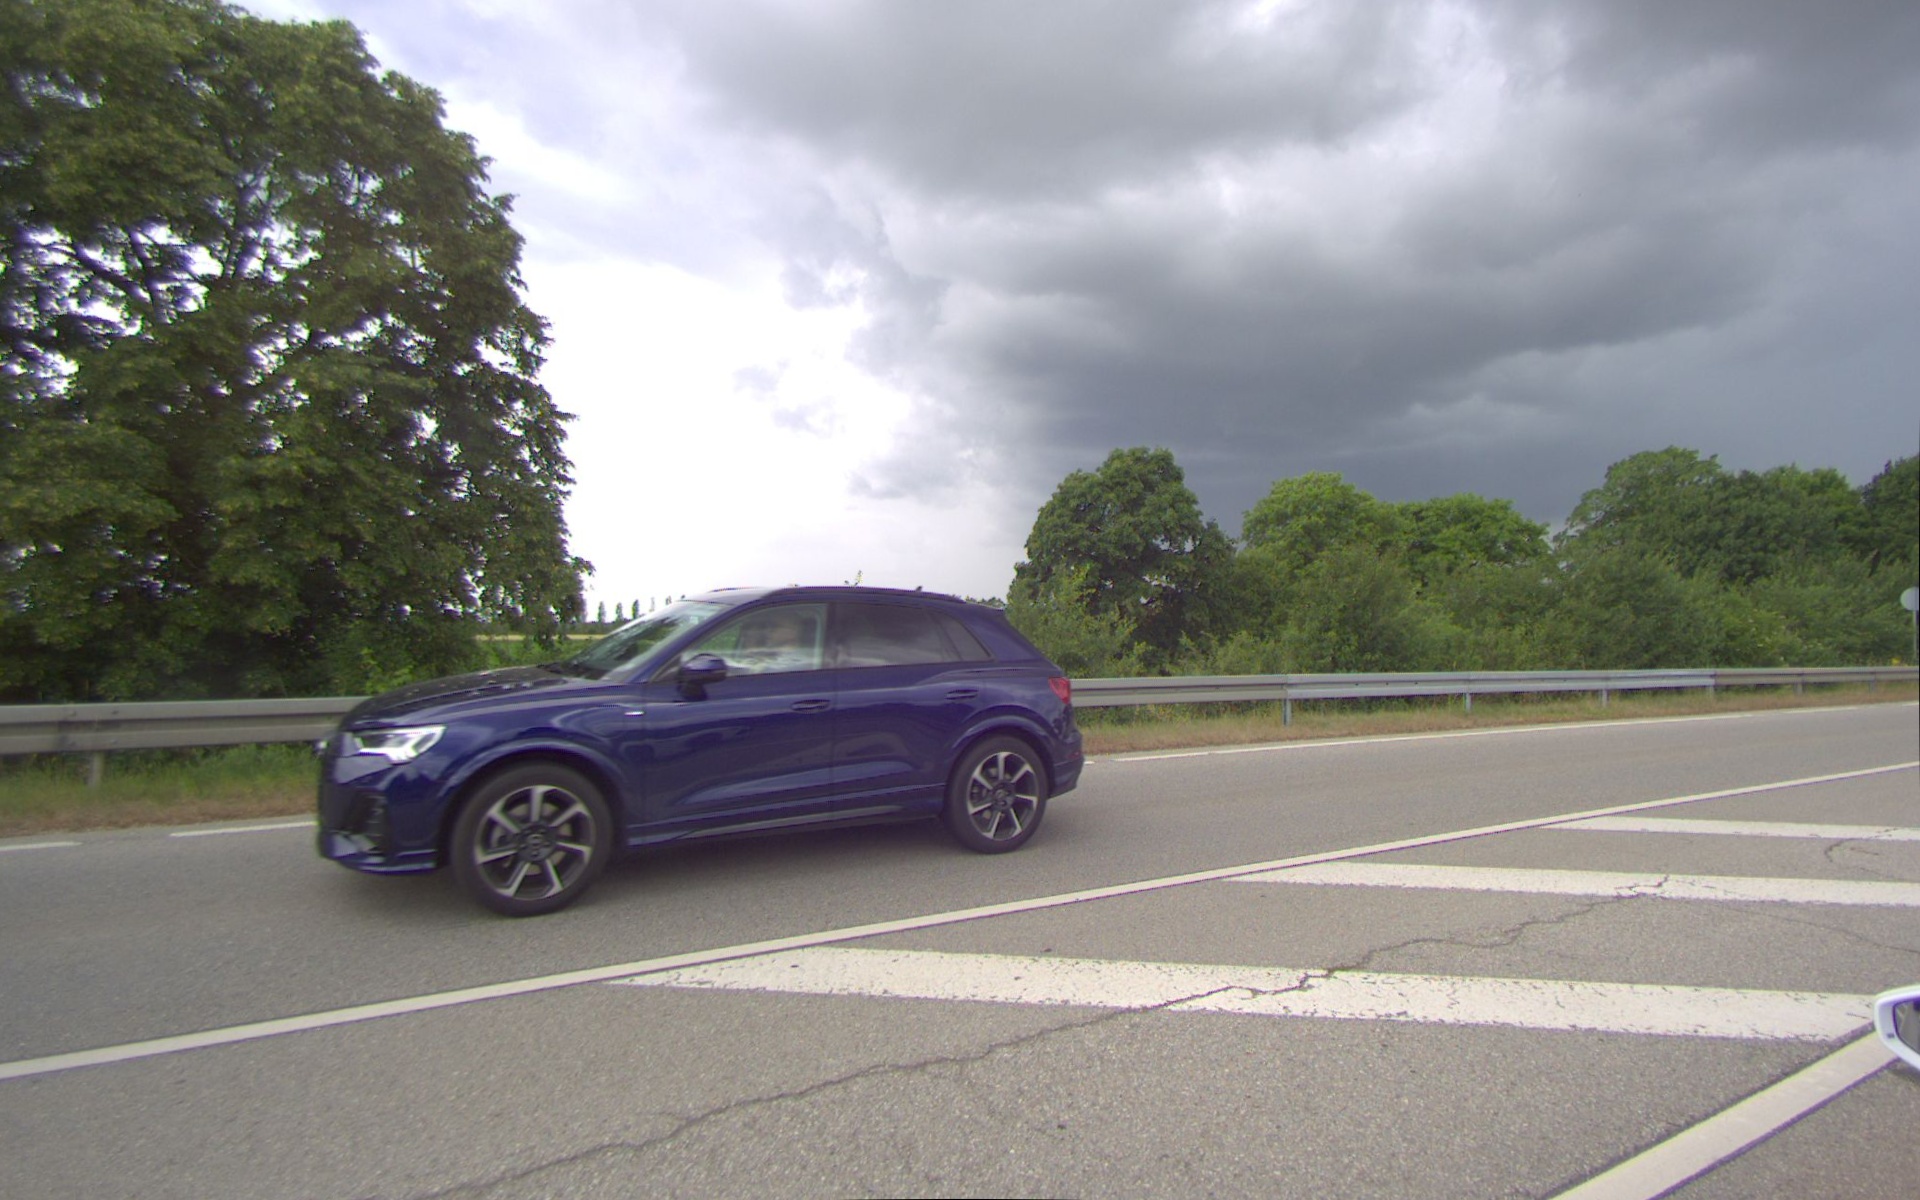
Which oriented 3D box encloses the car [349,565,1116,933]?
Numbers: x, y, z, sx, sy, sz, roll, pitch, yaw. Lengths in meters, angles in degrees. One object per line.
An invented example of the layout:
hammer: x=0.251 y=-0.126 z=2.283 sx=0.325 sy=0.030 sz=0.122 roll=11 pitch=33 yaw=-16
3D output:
car: x=-1.219 y=0.652 z=6.033 sx=4.162 sy=1.539 sz=1.700 roll=1 pitch=0 yaw=-32
